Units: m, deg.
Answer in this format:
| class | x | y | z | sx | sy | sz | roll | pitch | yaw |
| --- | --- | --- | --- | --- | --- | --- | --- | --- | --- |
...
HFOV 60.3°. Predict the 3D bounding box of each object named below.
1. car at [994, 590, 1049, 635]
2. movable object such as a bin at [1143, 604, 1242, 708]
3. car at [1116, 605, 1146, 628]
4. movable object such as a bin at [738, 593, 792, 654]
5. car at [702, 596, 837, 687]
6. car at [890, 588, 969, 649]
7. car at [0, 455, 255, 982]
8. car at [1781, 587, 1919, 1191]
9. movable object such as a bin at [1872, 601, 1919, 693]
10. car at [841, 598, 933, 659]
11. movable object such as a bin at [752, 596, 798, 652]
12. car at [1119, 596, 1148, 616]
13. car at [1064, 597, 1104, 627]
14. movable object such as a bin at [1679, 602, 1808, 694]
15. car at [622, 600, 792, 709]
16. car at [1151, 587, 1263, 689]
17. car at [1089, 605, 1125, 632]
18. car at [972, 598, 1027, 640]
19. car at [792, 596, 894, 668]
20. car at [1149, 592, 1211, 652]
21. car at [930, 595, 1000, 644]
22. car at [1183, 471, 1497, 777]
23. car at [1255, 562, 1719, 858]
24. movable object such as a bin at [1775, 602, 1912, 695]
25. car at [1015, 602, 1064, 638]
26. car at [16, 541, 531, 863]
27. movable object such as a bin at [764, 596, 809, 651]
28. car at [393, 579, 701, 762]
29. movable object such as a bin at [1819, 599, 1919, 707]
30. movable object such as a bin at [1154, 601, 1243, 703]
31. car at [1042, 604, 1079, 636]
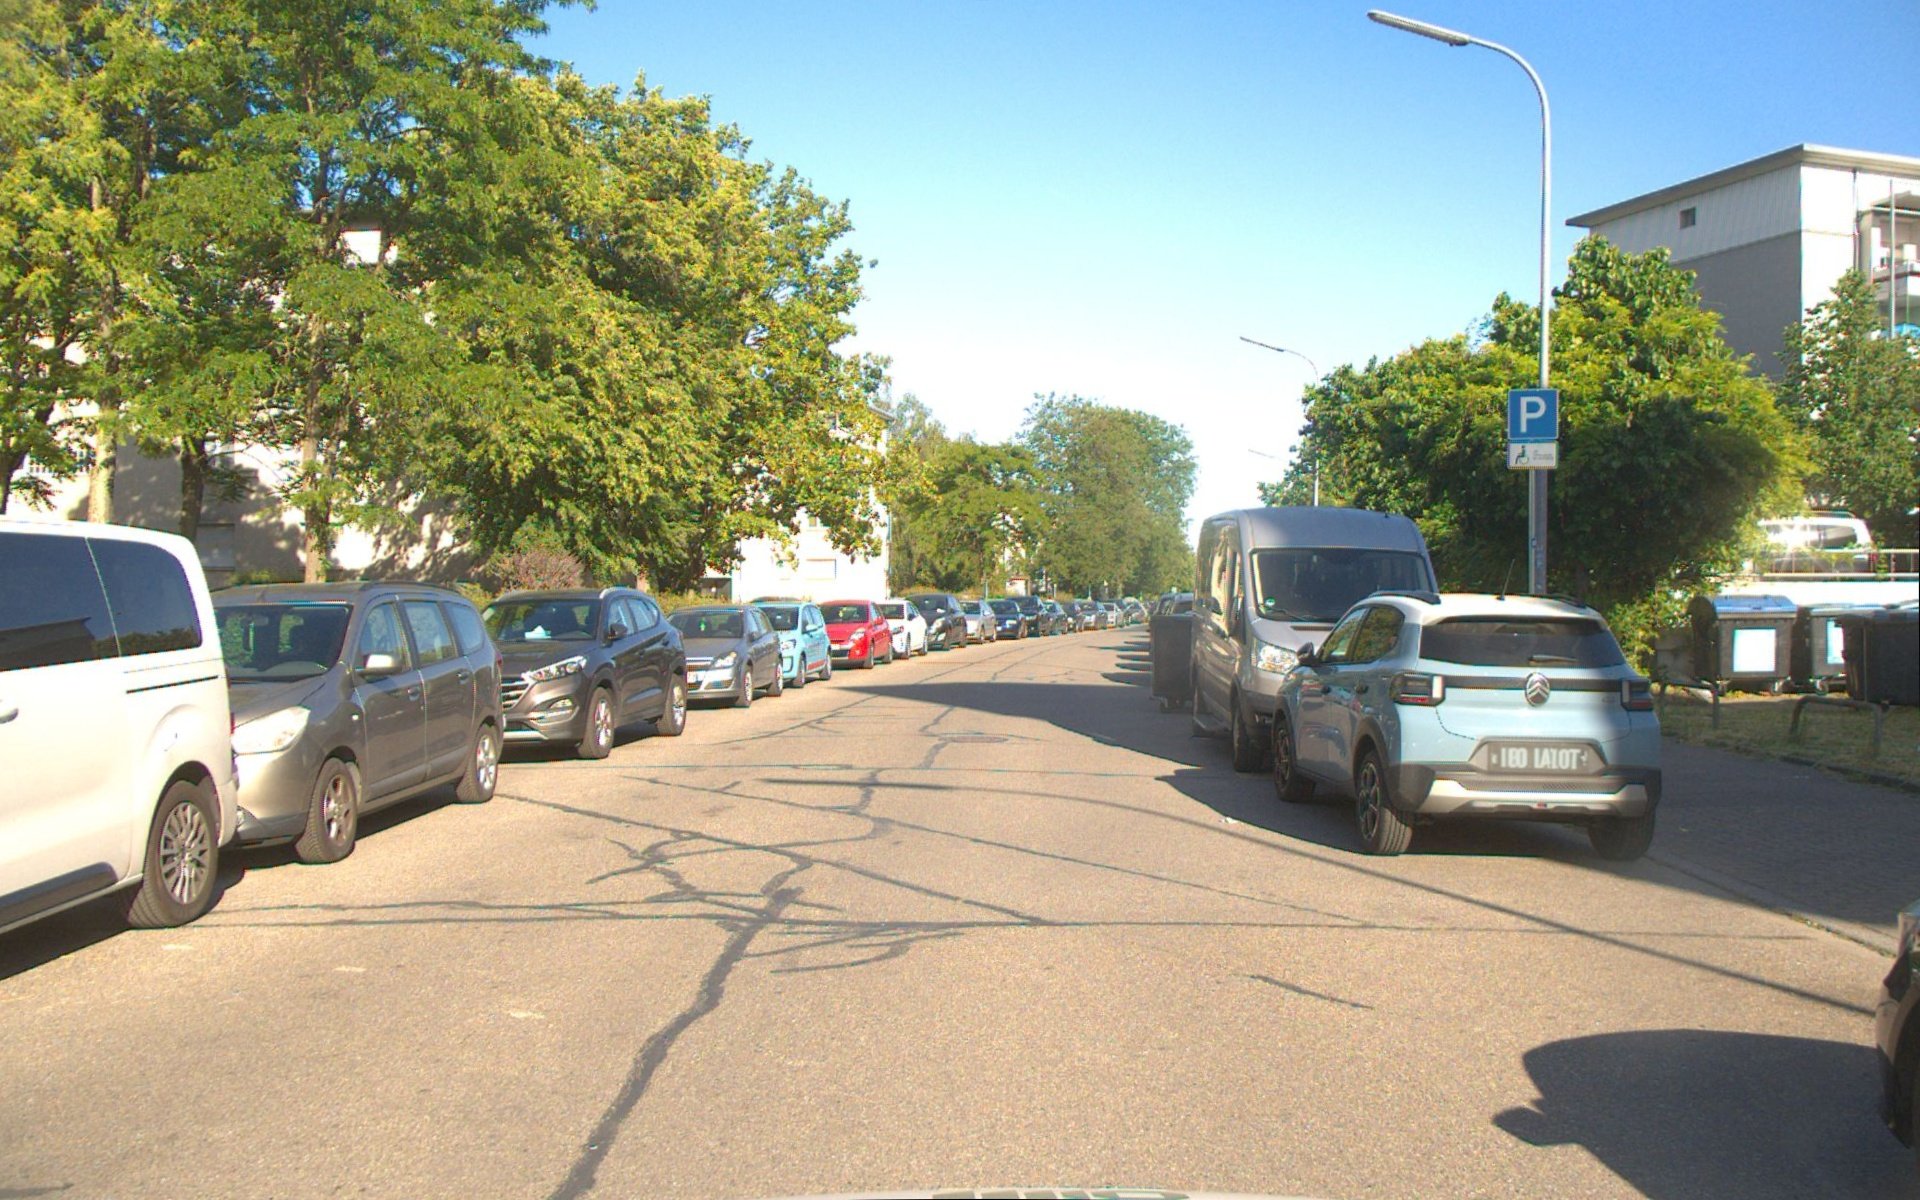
| class | x | y | z | sx | sy | sz | roll | pitch | yaw |
| --- | --- | --- | --- | --- | --- | --- | --- | --- | --- |
| car | 2.482 | 0.503 | 66.390 | 1.625 | 1.718 | 4.052 | -2 | 0 | 10 |
| movable object such as a bin | 3.185 | 0.750 | 22.576 | 1.242 | 1.336 | 1.123 | -1 | 1 | 11 |
| car | 11.178 | 1.061 | 107.941 | 1.477 | 1.406 | 3.470 | -2 | 0 | 14 |
| movable object such as a bin | -4.924 | 0.579 | 41.862 | 1.087 | 1.525 | 1.409 | 0 | 0 | 4 |
| car | -3.351 | 0.704 | 29.717 | 1.635 | 1.500 | 3.680 | -1 | 0 | 6 |
| car | -0.848 | 0.545 | 49.061 | 1.635 | 1.696 | 4.409 | -1 | 0 | 8 |
| car | -4.547 | 0.451 | 6.122 | 1.825 | 1.995 | 4.671 | 0 | 0 | 1 |
| car | 3.344 | 0.718 | 2.660 | 1.870 | 1.514 | 4.374 | 0 | 0 | 0 |
| movable object such as a bin | 14.562 | 0.680 | 24.534 | 1.382 | 1.328 | 1.383 | -1 | -1 | 7 |
| car | -1.822 | 0.705 | 42.324 | 1.635 | 1.446 | 3.904 | -1 | 0 | 8 |
| movable object such as a bin | -4.863 | 0.616 | 43.505 | 0.967 | 1.443 | 1.315 | 0 | 0 | 4 |
| car | 11.870 | 0.401 | 112.950 | 1.477 | 1.352 | 3.470 | -2 | 0 | 14 |
| car | 6.452 | 0.612 | 85.831 | 1.477 | 1.477 | 3.693 | -2 | 0 | 14 |
| movable object such as a bin | 11.747 | 0.712 | 24.868 | 1.382 | 1.328 | 1.383 | -1 | -1 | 7 |
| car | -3.677 | 0.761 | 24.698 | 1.635 | 1.462 | 4.002 | -1 | 0 | 4 |
| car | 4.491 | 0.639 | 30.579 | 1.771 | 1.693 | 4.465 | 2 | 0 | 5 |
| car | 8.212 | 1.015 | 92.149 | 1.477 | 1.388 | 3.470 | -2 | 0 | 14 |
| car | 1.479 | 0.678 | 60.799 | 1.625 | 1.451 | 4.052 | -2 | 0 | 6 |
| car | -2.550 | 0.687 | 36.844 | 1.635 | 1.500 | 3.680 | -1 | 0 | 6 |
| car | 6.417 | 0.618 | 48.506 | 1.693 | 1.647 | 4.236 | 1 | 0 | 7 |
| car | 0.199 | 0.633 | 55.180 | 1.625 | 1.512 | 4.056 | -2 | 0 | 10 |
| car | 3.604 | 0.213 | 16.923 | 2.061 | 2.529 | 5.857 | 2 | 0 | 3 |
| car | 3.406 | 0.638 | 11.660 | 1.870 | 1.695 | 4.374 | 0 | 0 | 0 |
| movable object such as a bin | 13.158 | 0.712 | 24.688 | 1.382 | 1.328 | 1.383 | -1 | -1 | 7 |
| car | 3.471 | 0.856 | 71.359 | 1.625 | 1.464 | 3.763 | -2 | 0 | 10 |
| car | -4.318 | 0.555 | 11.204 | 1.523 | 1.752 | 4.342 | 0 | 0 | 2 |
| movable object such as a bin | -4.690 | 0.622 | 44.835 | 0.967 | 1.443 | 1.315 | 0 | 0 | 6 |
| car | -4.079 | 0.633 | 17.124 | 1.711 | 1.646 | 4.365 | 0 | 0 | 6 |
| movable object such as a bin | 12.008 | 0.656 | 21.177 | 1.382 | 1.328 | 1.383 | -1 | -1 | 7 |
| movable object such as a bin | 3.436 | 0.727 | 23.720 | 1.202 | 1.421 | 1.171 | 0 | 0 | 11 |
| car | 4.840 | 0.941 | 79.299 | 1.359 | 1.438 | 3.128 | -2 | 0 | 10 |
